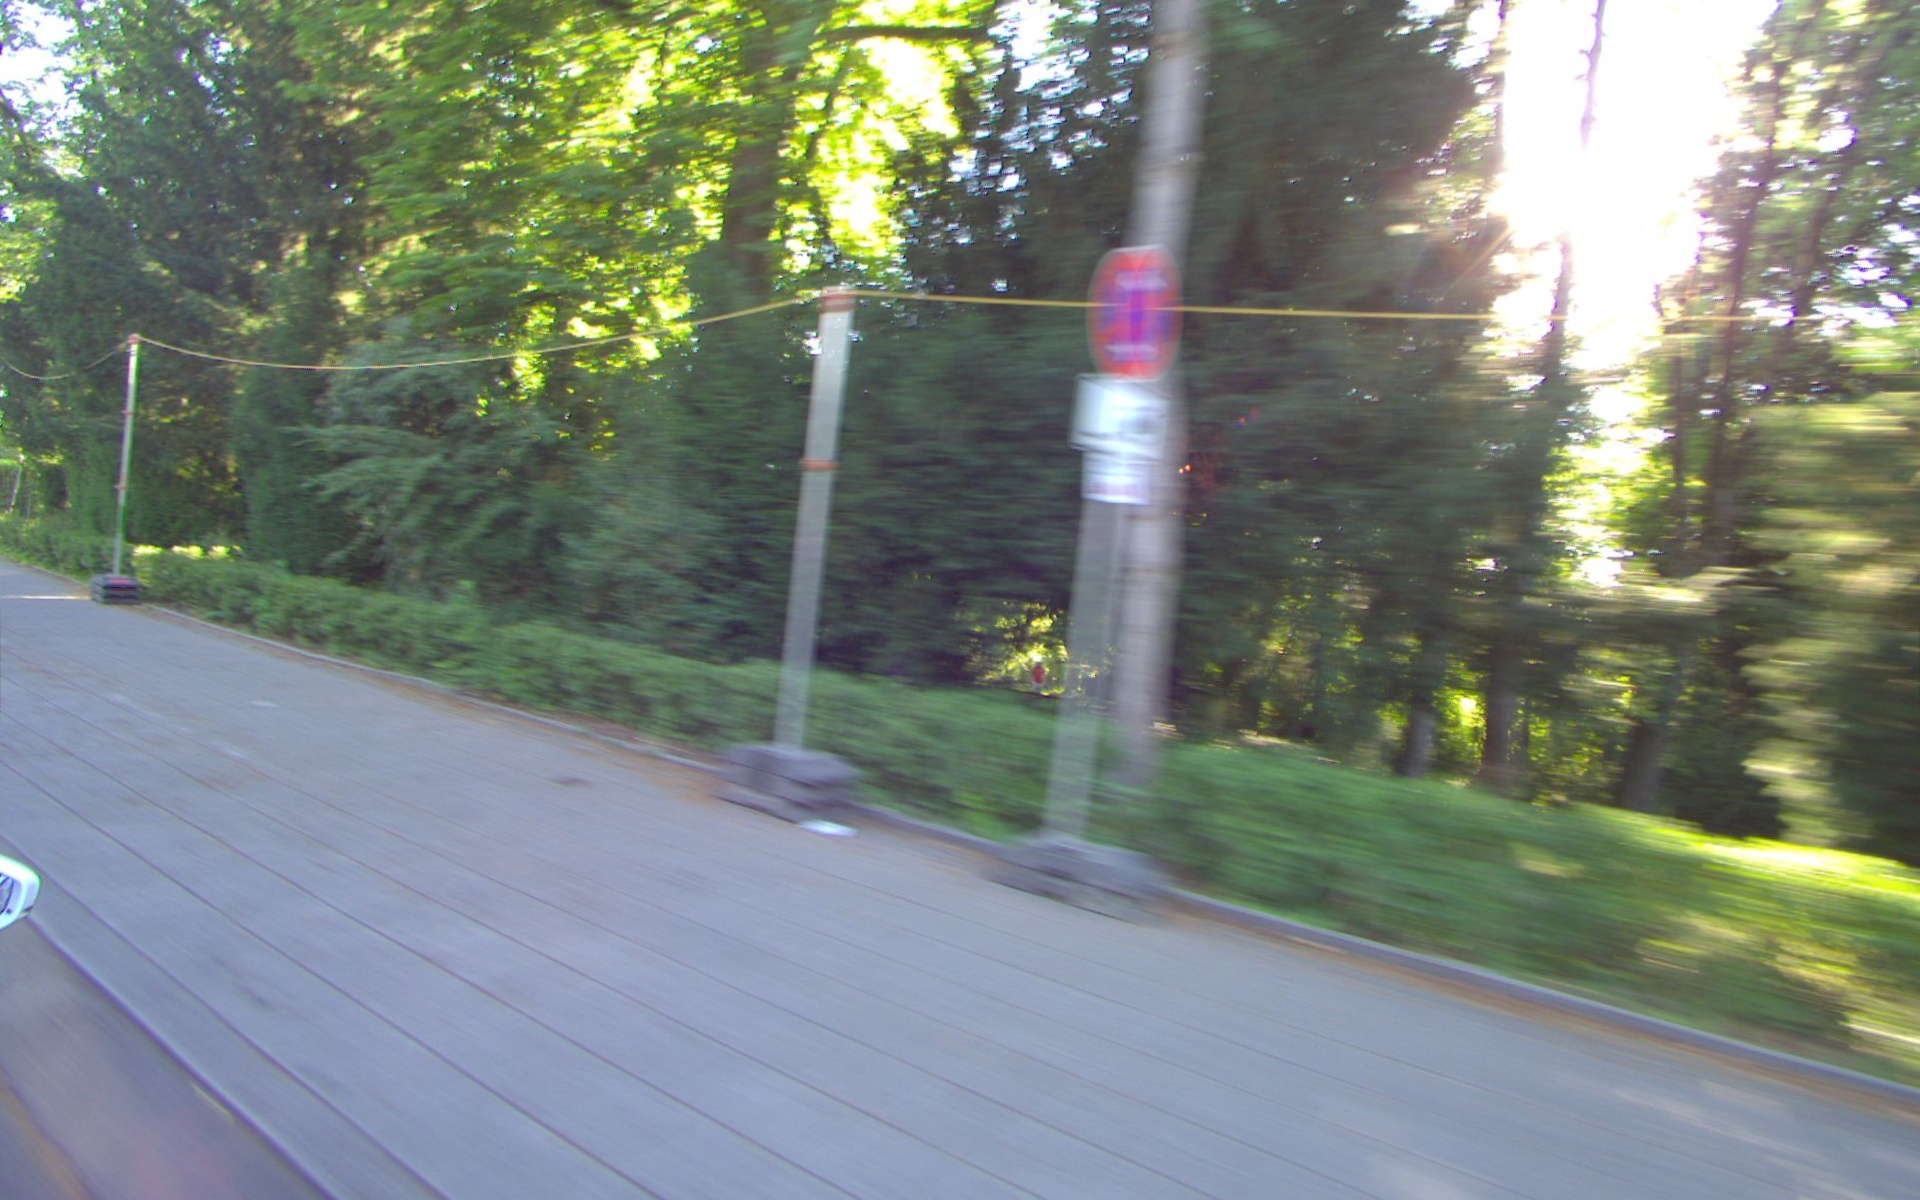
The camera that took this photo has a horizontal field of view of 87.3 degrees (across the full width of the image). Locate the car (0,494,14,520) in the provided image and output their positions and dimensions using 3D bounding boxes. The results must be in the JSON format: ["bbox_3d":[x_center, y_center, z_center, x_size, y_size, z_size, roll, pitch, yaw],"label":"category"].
[{"bbox_3d":[-56.730,-5.524,58.643,1.784,1.459,3.959,6,0,-38],"label":"car"}]
